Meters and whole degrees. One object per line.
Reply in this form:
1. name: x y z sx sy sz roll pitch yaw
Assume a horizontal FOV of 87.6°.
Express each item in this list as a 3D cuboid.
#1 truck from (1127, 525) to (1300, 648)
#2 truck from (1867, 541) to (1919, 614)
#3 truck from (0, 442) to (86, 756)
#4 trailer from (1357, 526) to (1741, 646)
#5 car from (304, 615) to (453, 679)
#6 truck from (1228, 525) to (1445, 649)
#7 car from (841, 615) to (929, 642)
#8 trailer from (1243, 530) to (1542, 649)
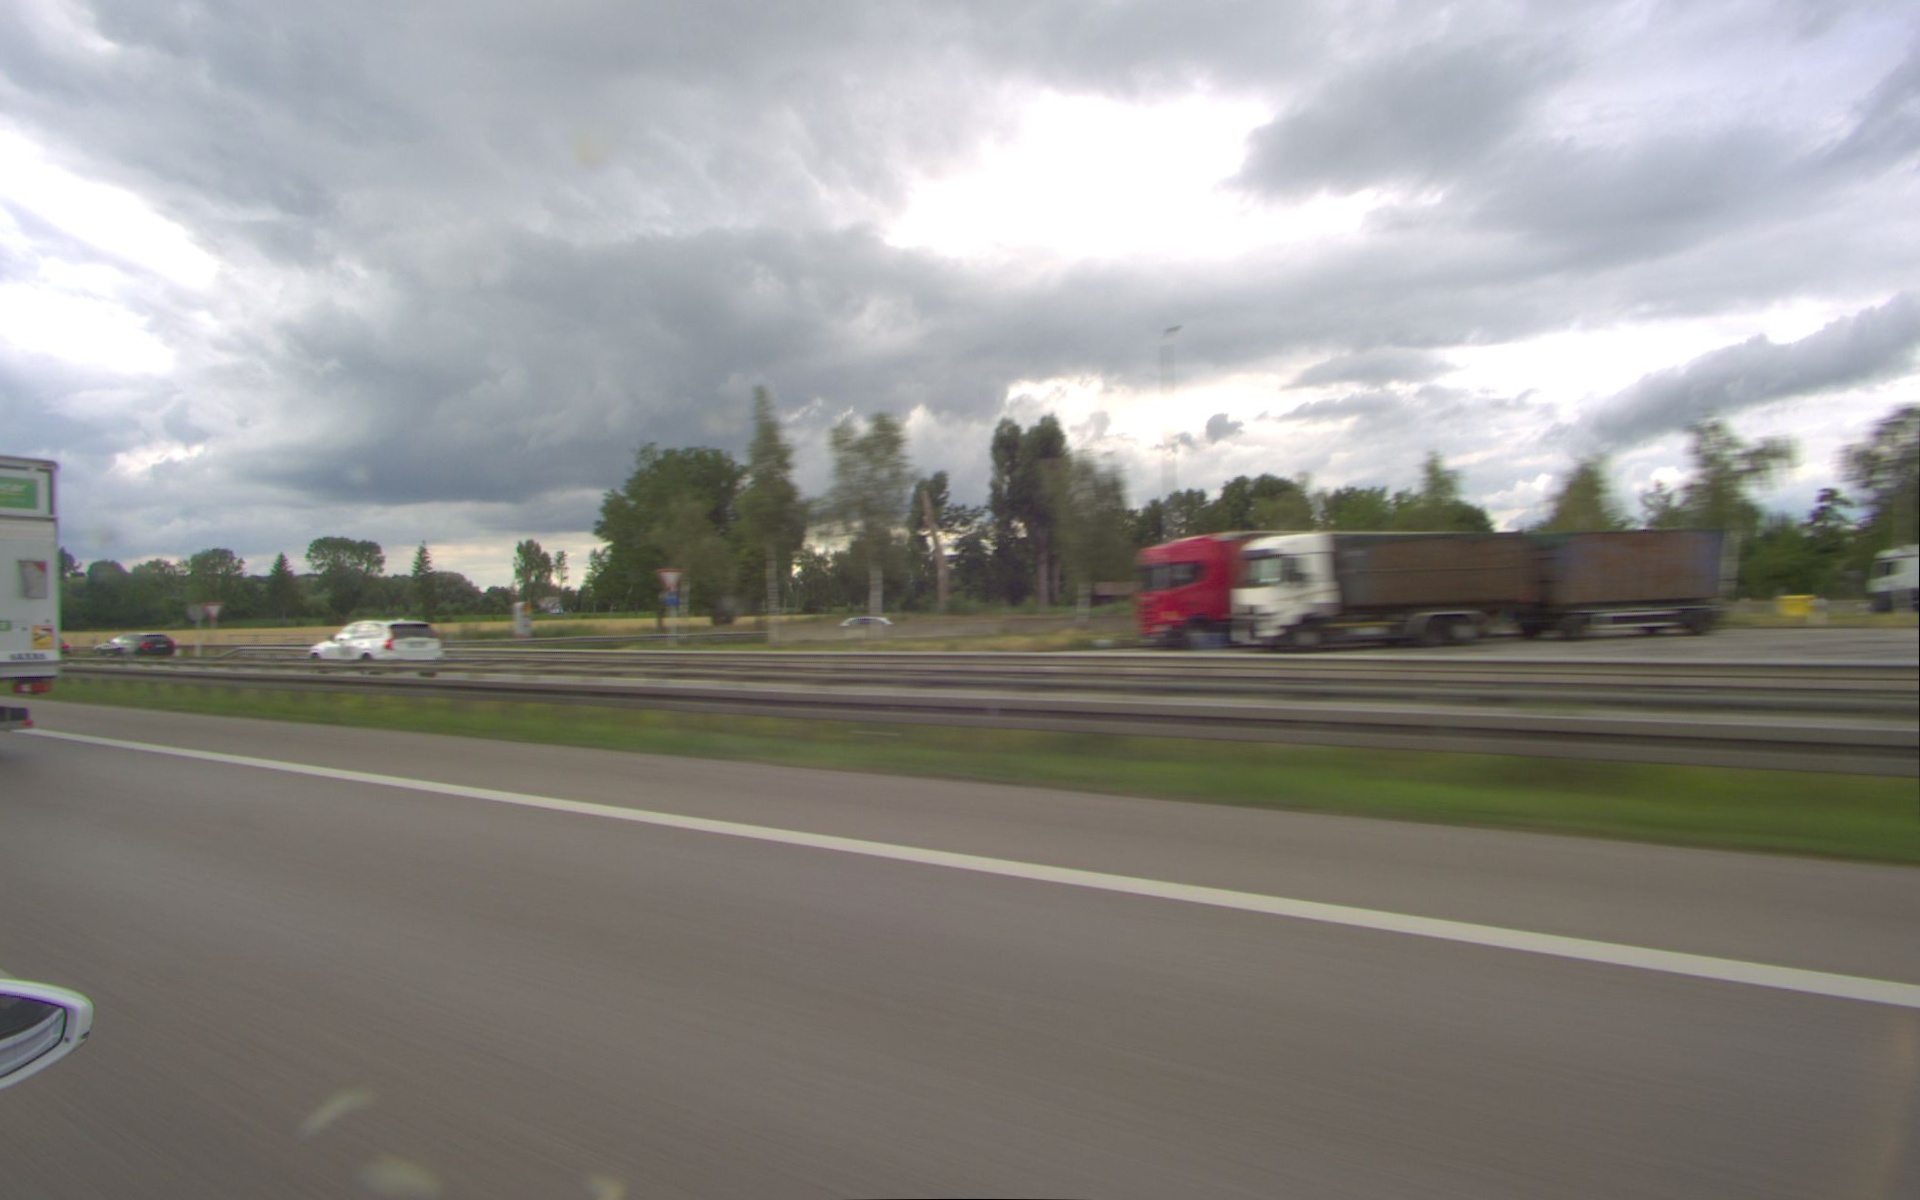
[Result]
1. truck: 9.268 -0.385 36.889 5.588 4.307 2.591 0 -2 -12
2. truck: 48.076 -1.134 48.463 2.610 3.482 5.626 0 -2 -15
3. truck: -14.947 0.052 13.209 8.933 3.549 2.765 -1 -2 33
4. trailer: 20.581 -0.499 35.031 12.961 3.892 2.746 -1 0 -11
5. car: -17.628 1.366 30.274 4.994 1.780 1.824 -1 0 33
6. truck: 12.495 -0.419 33.457 6.274 3.900 2.754 -1 0 -11
7. car: -4.210 1.623 56.098 4.694 1.486 1.999 0 -2 -13
8. trailer: 16.513 -0.365 38.348 10.902 4.278 2.597 0 -2 -11
